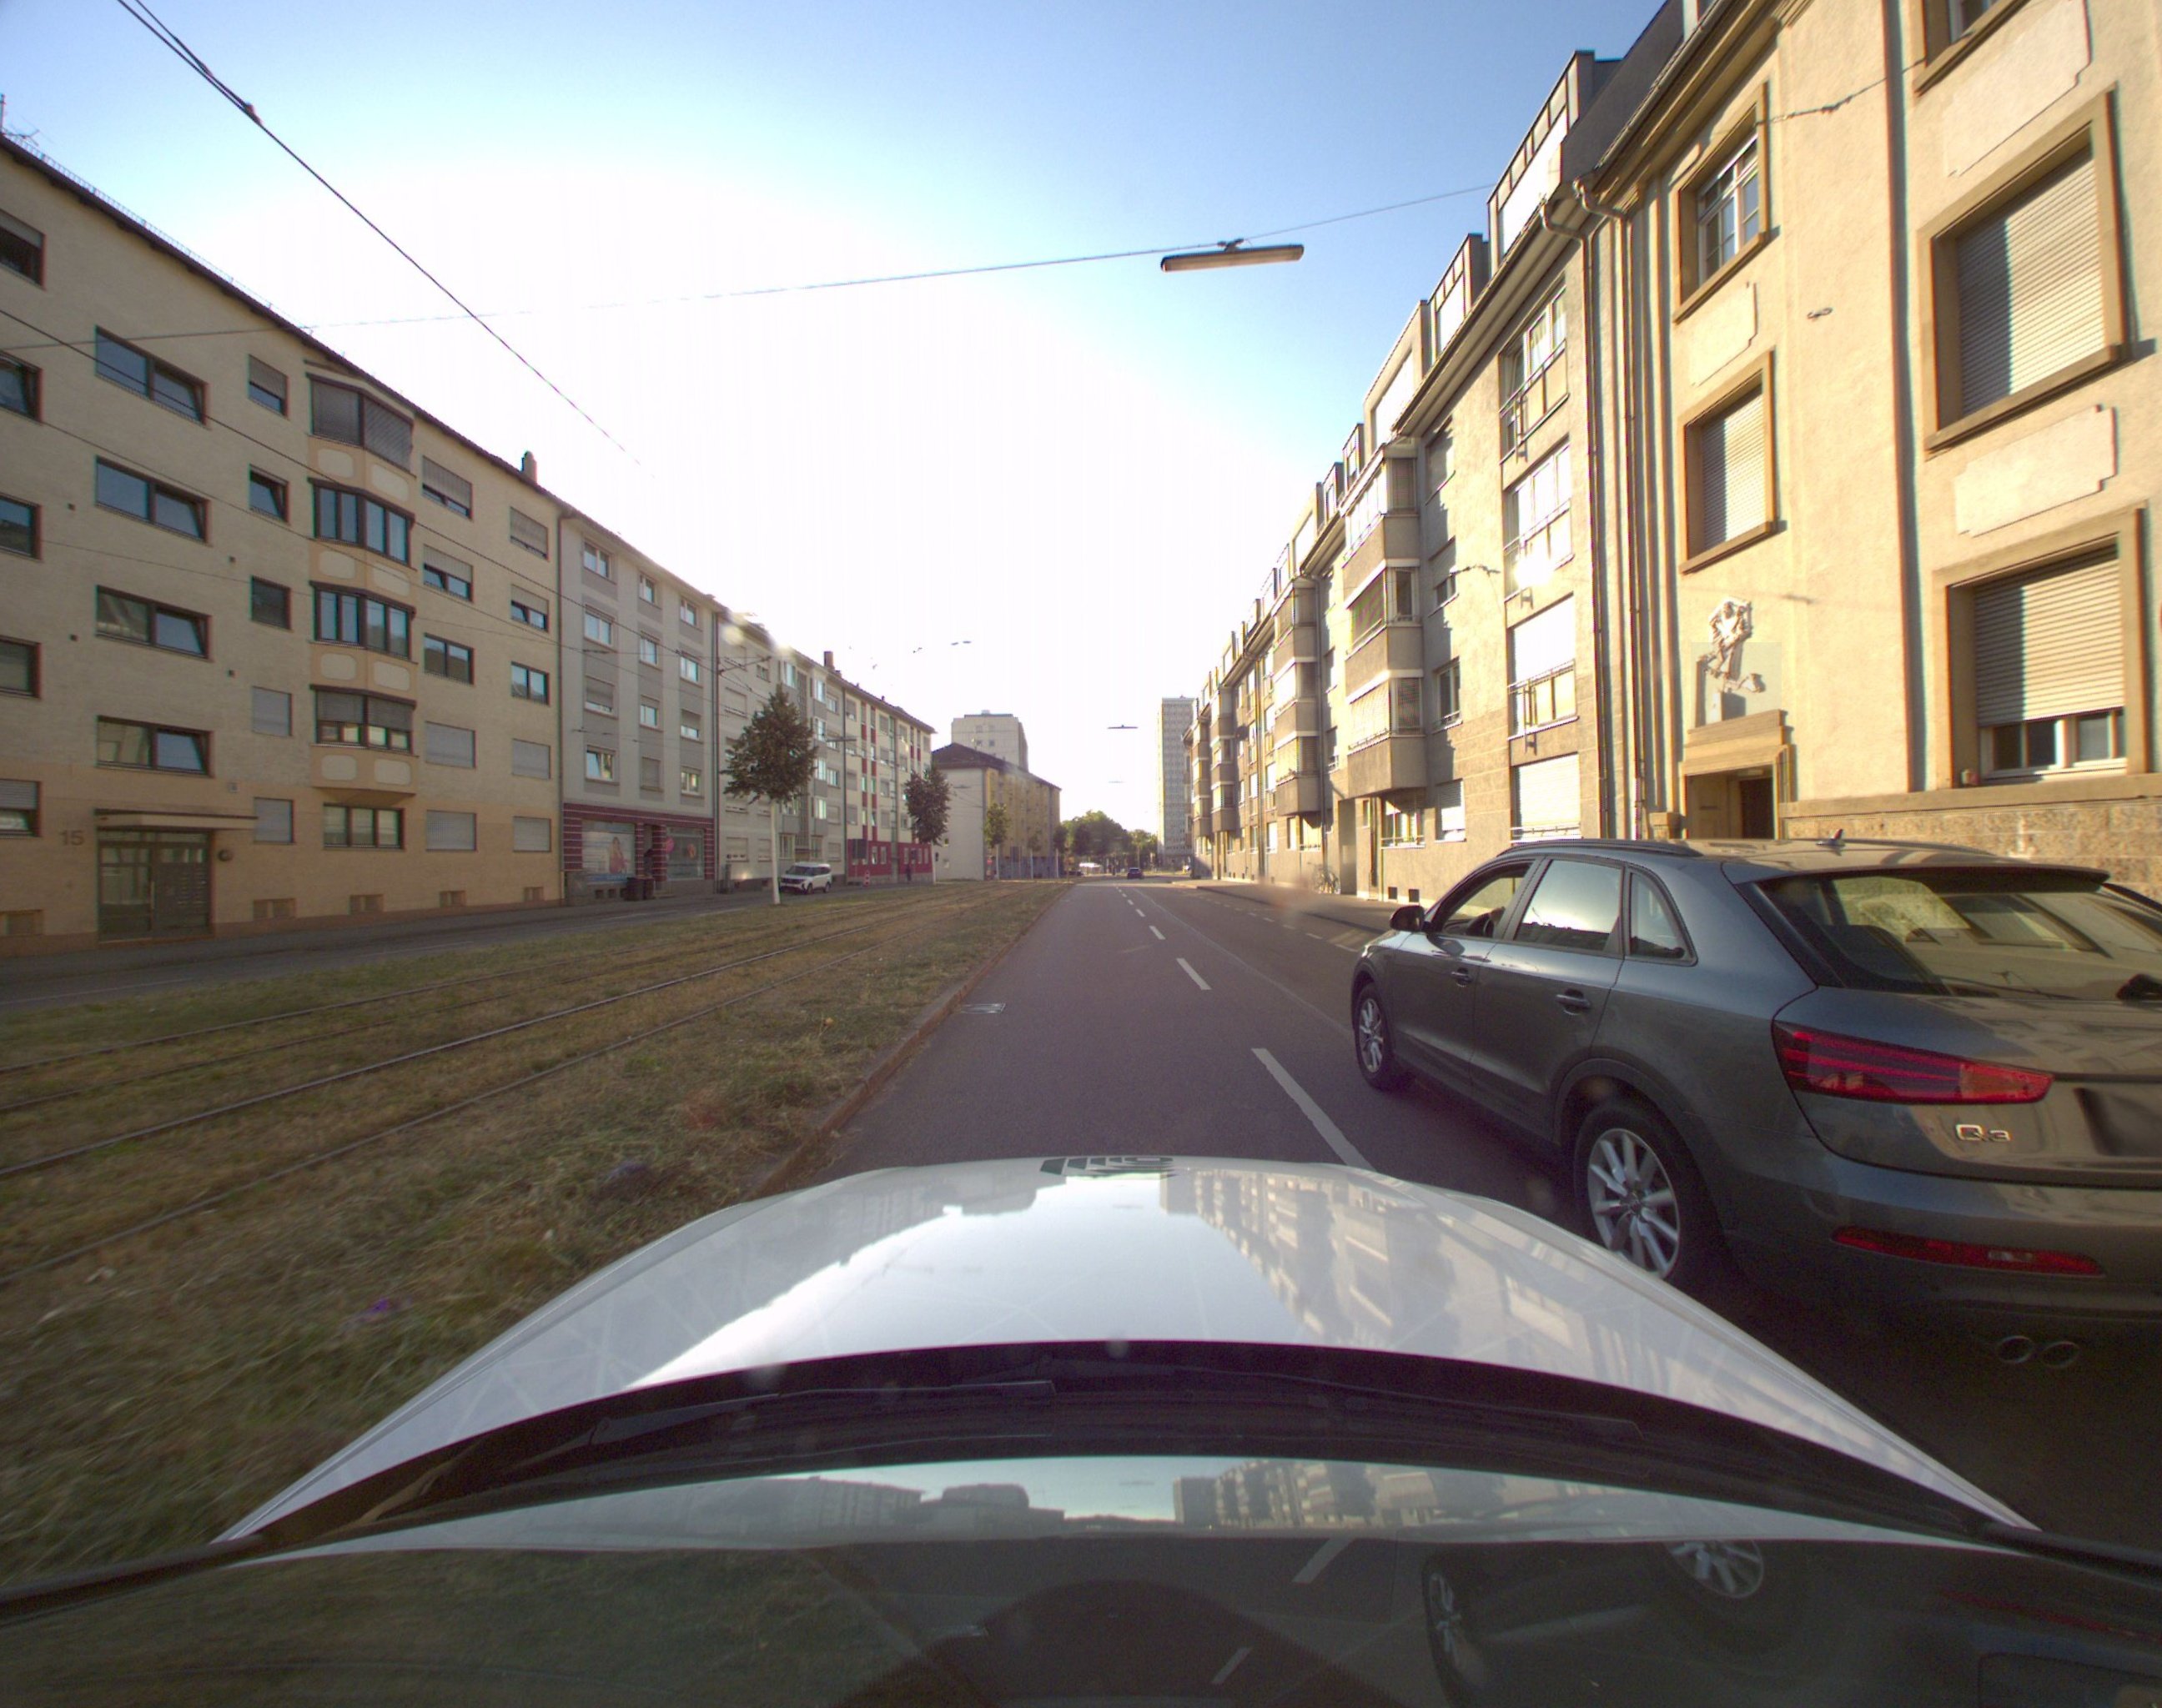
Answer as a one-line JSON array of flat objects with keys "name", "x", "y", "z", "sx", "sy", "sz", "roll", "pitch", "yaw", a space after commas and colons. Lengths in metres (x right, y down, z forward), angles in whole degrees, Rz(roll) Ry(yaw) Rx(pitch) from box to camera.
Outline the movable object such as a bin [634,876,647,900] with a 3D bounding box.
[{"name": "movable object such as a bin", "x": -19.316, "y": 1.494, "z": 35.715, "sx": 0.297, "sy": 1.036, "sz": 0.441, "roll": 0, "pitch": -1, "yaw": 0}]

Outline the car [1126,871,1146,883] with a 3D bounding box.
[{"name": "car", "x": 6.891, "y": 2.827, "z": 101.260, "sx": 1.913, "sy": 1.456, "sz": 4.341, "roll": 0, "pitch": -1, "yaw": 12}]

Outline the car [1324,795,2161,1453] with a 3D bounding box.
[{"name": "car", "x": 2.617, "y": 0.687, "z": 4.050, "sx": 1.691, "sy": 1.553, "sz": 4.227, "roll": 0, "pitch": -2, "yaw": 2}]

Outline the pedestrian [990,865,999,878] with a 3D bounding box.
[{"name": "pedestrian", "x": -11.039, "y": 2.256, "z": 103.541, "sx": 0.957, "sy": 1.670, "sz": 1.013, "roll": 0, "pitch": -1, "yaw": 6}]

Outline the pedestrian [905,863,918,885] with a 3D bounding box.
[{"name": "pedestrian", "x": -15.751, "y": 1.849, "z": 75.732, "sx": 1.000, "sy": 2.036, "sz": 0.887, "roll": 0, "pitch": -1, "yaw": 5}]

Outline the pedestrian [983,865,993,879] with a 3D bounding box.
[{"name": "pedestrian", "x": -11.801, "y": 2.262, "z": 103.499, "sx": 0.957, "sy": 1.694, "sz": 1.013, "roll": 0, "pitch": -1, "yaw": 6}]

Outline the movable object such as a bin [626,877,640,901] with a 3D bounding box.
[{"name": "movable object such as a bin", "x": -19.353, "y": 1.495, "z": 35.183, "sx": 0.297, "sy": 1.036, "sz": 0.441, "roll": 0, "pitch": -1, "yaw": 0}]

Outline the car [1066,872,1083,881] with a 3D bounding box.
[{"name": "car", "x": -1.561, "y": 5.440, "z": 198.368, "sx": 3.967, "sy": 2.014, "sz": 2.003, "roll": -2, "pitch": -1, "yaw": 6}]

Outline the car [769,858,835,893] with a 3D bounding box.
[{"name": "car", "x": -16.510, "y": 1.268, "z": 48.509, "sx": 1.984, "sy": 1.925, "sz": 4.548, "roll": 0, "pitch": -1, "yaw": 5}]

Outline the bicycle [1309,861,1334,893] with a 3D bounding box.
[{"name": "bicycle", "x": 8.444, "y": 0.800, "z": 28.641, "sx": 0.382, "sy": 1.096, "sz": 1.503, "roll": -2, "pitch": -1, "yaw": -1}]
